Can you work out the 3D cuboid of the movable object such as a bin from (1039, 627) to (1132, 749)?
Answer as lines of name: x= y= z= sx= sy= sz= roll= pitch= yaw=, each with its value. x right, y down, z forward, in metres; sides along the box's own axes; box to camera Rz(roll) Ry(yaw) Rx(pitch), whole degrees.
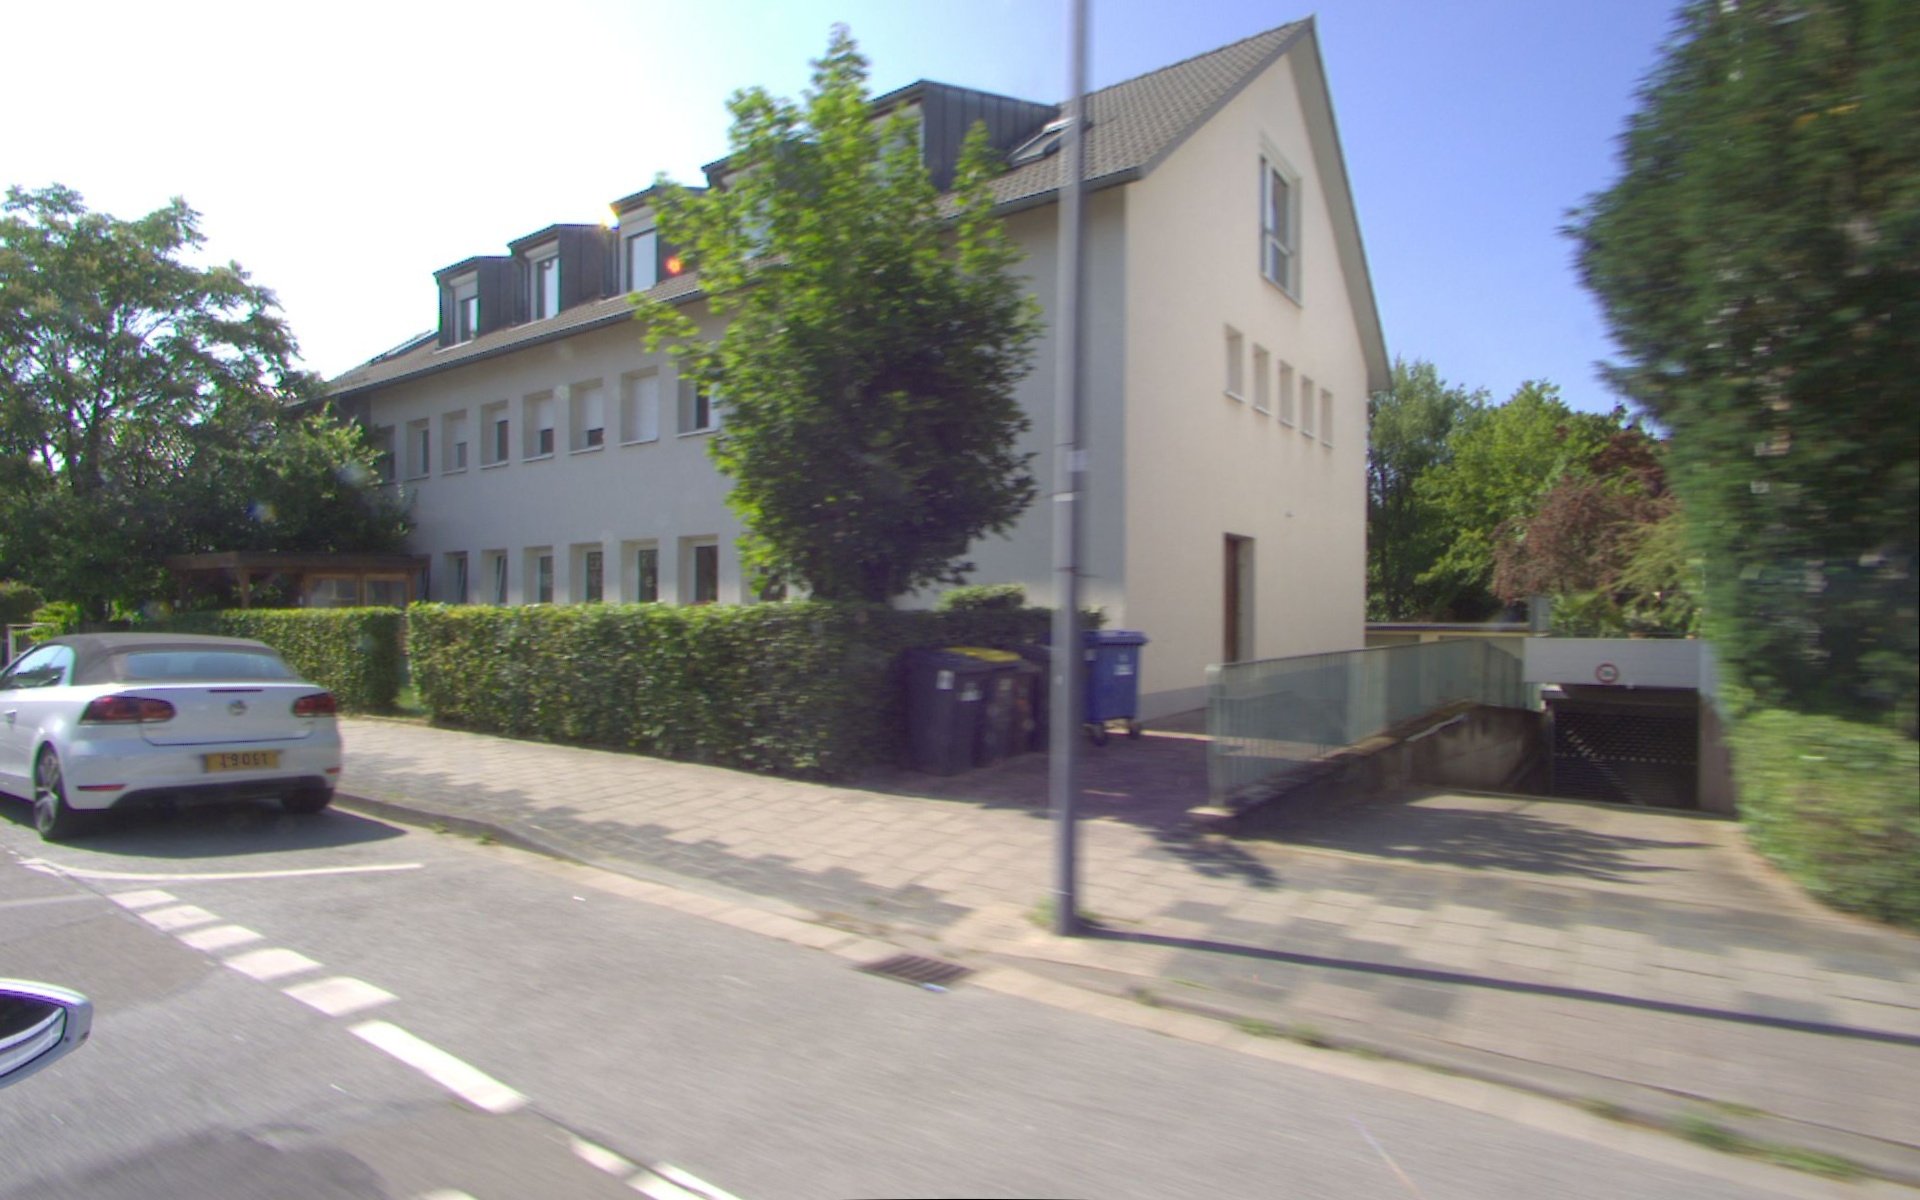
movable object such as a bin: x=1.382 y=0.936 z=10.976 sx=0.782 sy=1.260 sz=0.745 roll=0 pitch=0 yaw=31

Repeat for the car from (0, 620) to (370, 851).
car: x=-6.734 y=0.920 z=8.197 sx=4.018 sy=1.419 sz=1.737 roll=0 pitch=-3 yaw=35
